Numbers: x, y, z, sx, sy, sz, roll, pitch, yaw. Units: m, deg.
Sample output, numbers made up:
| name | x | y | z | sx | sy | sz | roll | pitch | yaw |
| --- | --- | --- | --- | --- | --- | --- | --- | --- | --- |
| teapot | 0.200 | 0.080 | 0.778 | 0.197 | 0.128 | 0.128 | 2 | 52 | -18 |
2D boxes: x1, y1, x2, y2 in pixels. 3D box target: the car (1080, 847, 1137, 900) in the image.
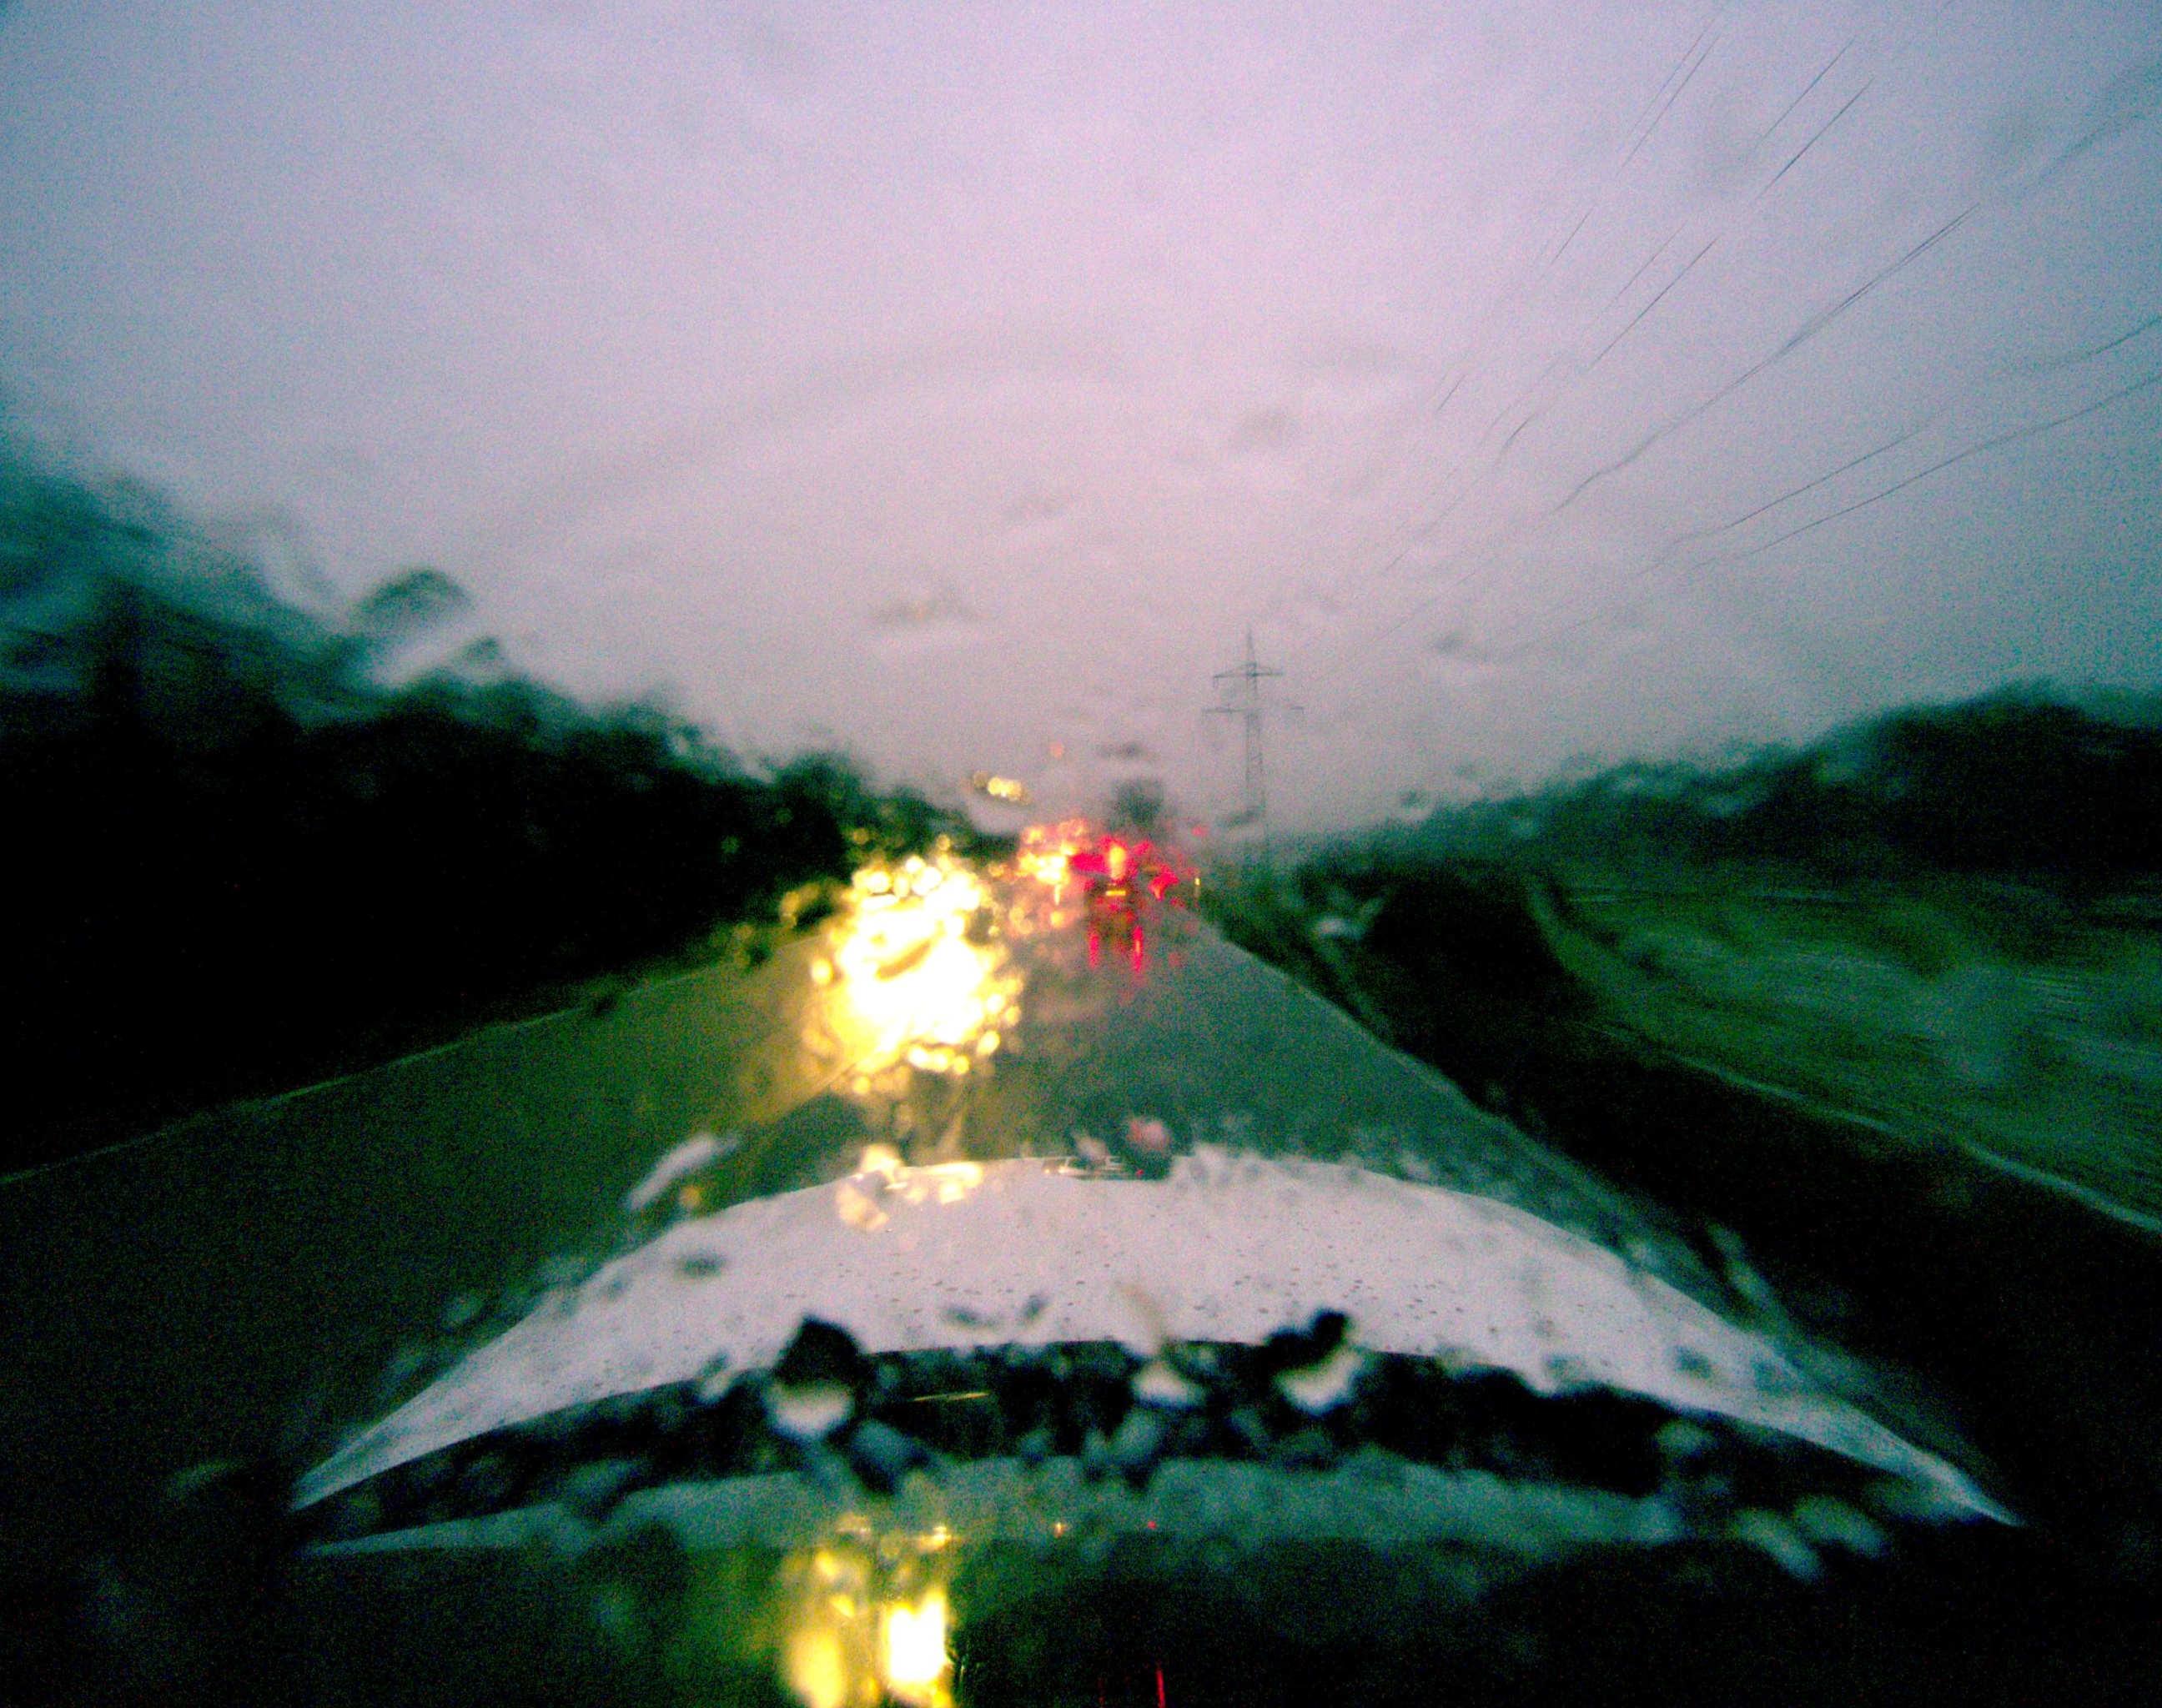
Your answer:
| name | x | y | z | sx | sy | sz | roll | pitch | yaw |
| --- | --- | --- | --- | --- | --- | --- | --- | --- | --- |
| car | 0.783 | 0.515 | 23.250 | 1.495 | 1.398 | 3.200 | -1 | 0 | 1 |

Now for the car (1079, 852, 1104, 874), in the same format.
| name | x | y | z | sx | sy | sz | roll | pitch | yaw |
| --- | --- | --- | --- | --- | --- | --- | --- | --- | --- |
| car | 0.816 | 0.683 | 64.857 | 1.857 | 1.700 | 4.466 | -1 | 0 | -1 |

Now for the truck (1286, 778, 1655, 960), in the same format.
| name | x | y | z | sx | sy | sz | roll | pitch | yaw |
| --- | --- | --- | --- | --- | --- | --- | --- | --- | --- |
| truck | 6.938 | 0.233 | 17.061 | 2.496 | 2.571 | 10.802 | -1 | 0 | 0 |

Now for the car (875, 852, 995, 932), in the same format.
| name | x | y | z | sx | sy | sz | roll | pitch | yaw |
| --- | --- | --- | --- | --- | --- | --- | --- | --- | --- |
| car | -3.029 | 0.725 | 17.811 | 1.682 | 1.507 | 4.415 | -1 | 0 | 2 |

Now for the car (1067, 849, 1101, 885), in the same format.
| name | x | y | z | sx | sy | sz | roll | pitch | yaw |
| --- | --- | --- | --- | --- | --- | --- | --- | --- | --- |
| car | 0.242 | 0.722 | 47.098 | 1.845 | 2.013 | 4.001 | -1 | 0 | 1 |

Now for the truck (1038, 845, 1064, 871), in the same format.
| name | x | y | z | sx | sy | sz | roll | pitch | yaw |
| --- | --- | --- | --- | --- | --- | --- | --- | --- | --- |
| truck | -2.861 | 0.375 | 78.929 | 2.231 | 2.467 | 5.373 | -1 | 0 | 0 |
